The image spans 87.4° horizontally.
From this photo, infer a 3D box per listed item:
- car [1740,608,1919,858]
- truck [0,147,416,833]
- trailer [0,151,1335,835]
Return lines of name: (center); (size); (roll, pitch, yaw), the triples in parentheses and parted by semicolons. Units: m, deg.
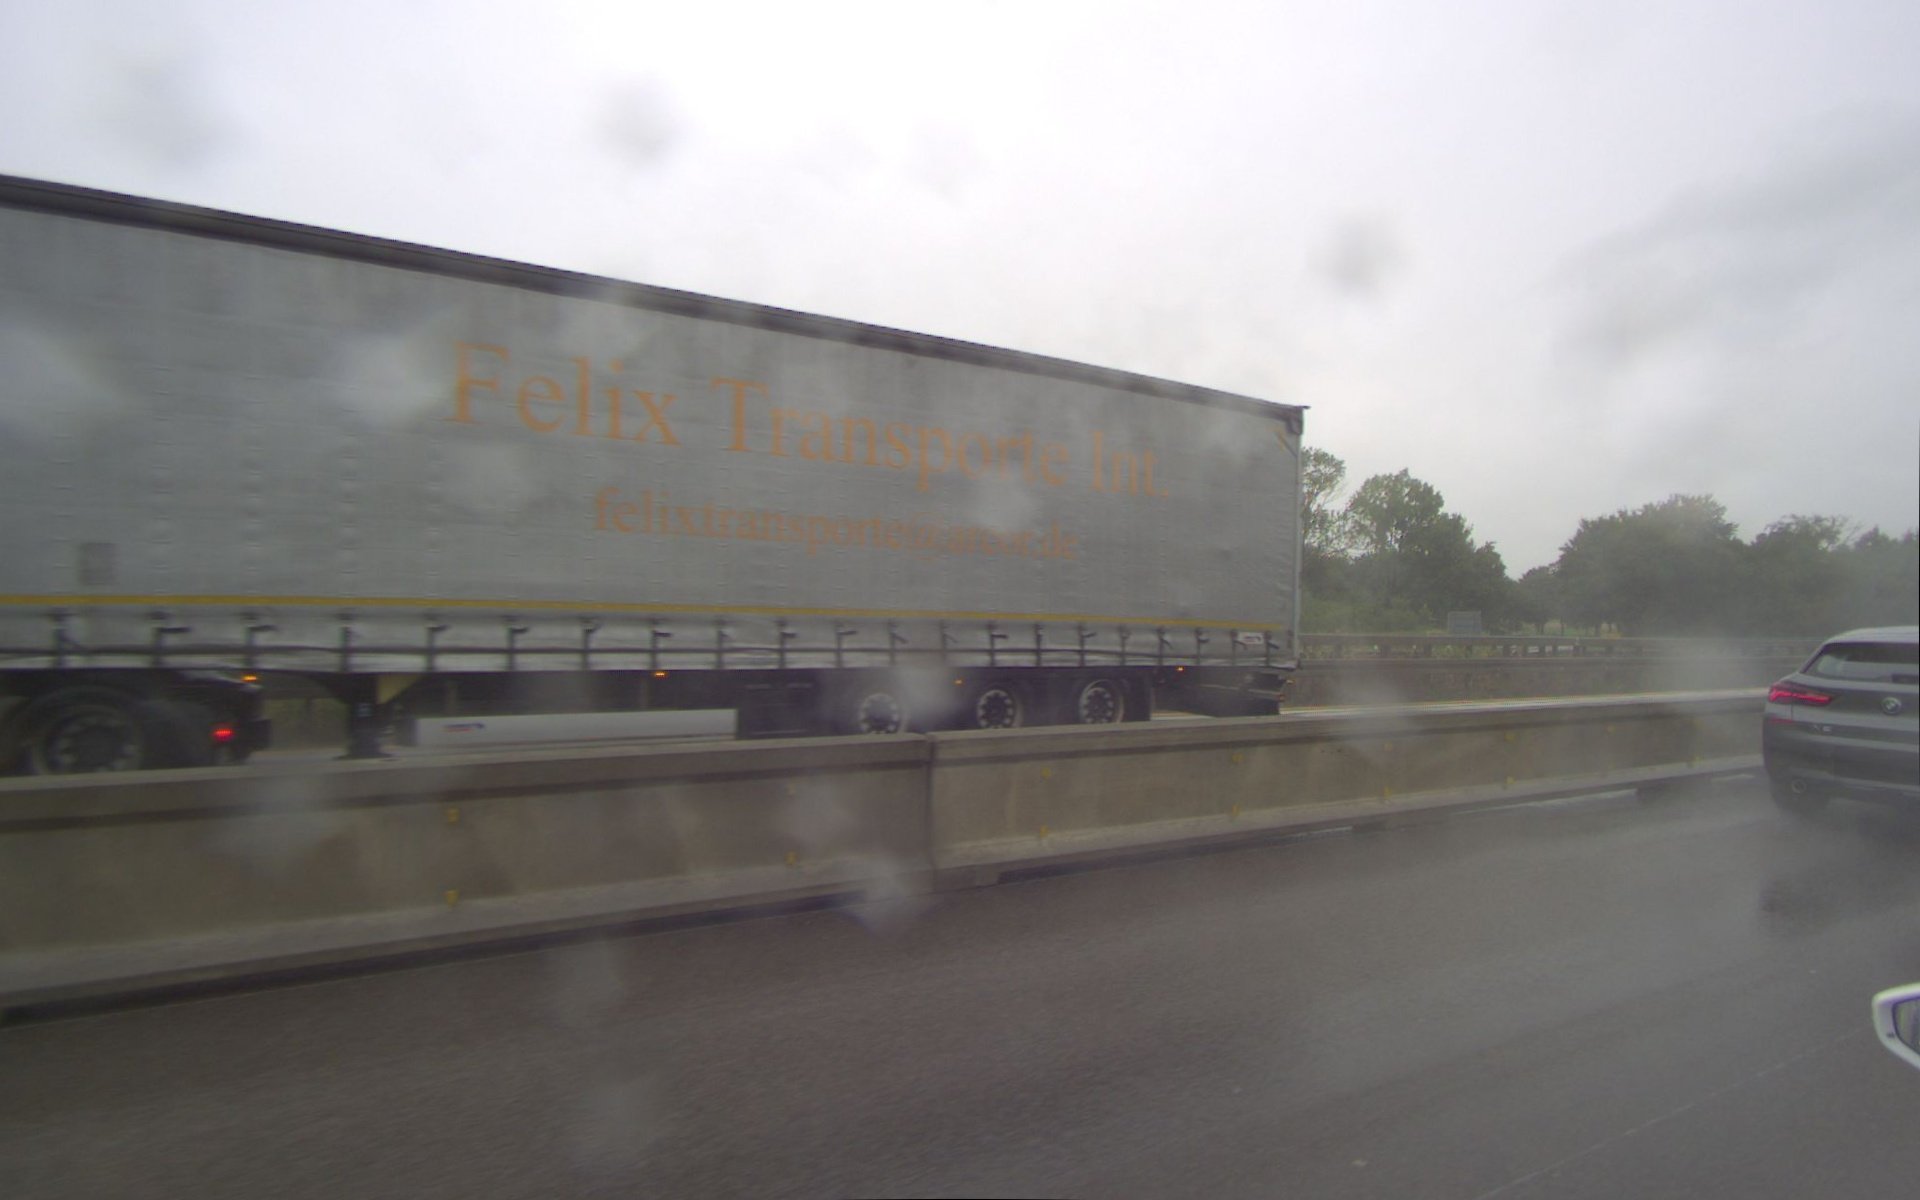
car: (8.231, 0.921, 7.900); (4.789, 1.619, 1.692); (1, 0, -31)
truck: (-7.478, -0.713, 6.710); (6.617, 4.181, 2.630); (2, -1, -30)
trailer: (-1.388, -0.445, 10.274); (12.171, 4.163, 2.637); (2, -1, -30)
